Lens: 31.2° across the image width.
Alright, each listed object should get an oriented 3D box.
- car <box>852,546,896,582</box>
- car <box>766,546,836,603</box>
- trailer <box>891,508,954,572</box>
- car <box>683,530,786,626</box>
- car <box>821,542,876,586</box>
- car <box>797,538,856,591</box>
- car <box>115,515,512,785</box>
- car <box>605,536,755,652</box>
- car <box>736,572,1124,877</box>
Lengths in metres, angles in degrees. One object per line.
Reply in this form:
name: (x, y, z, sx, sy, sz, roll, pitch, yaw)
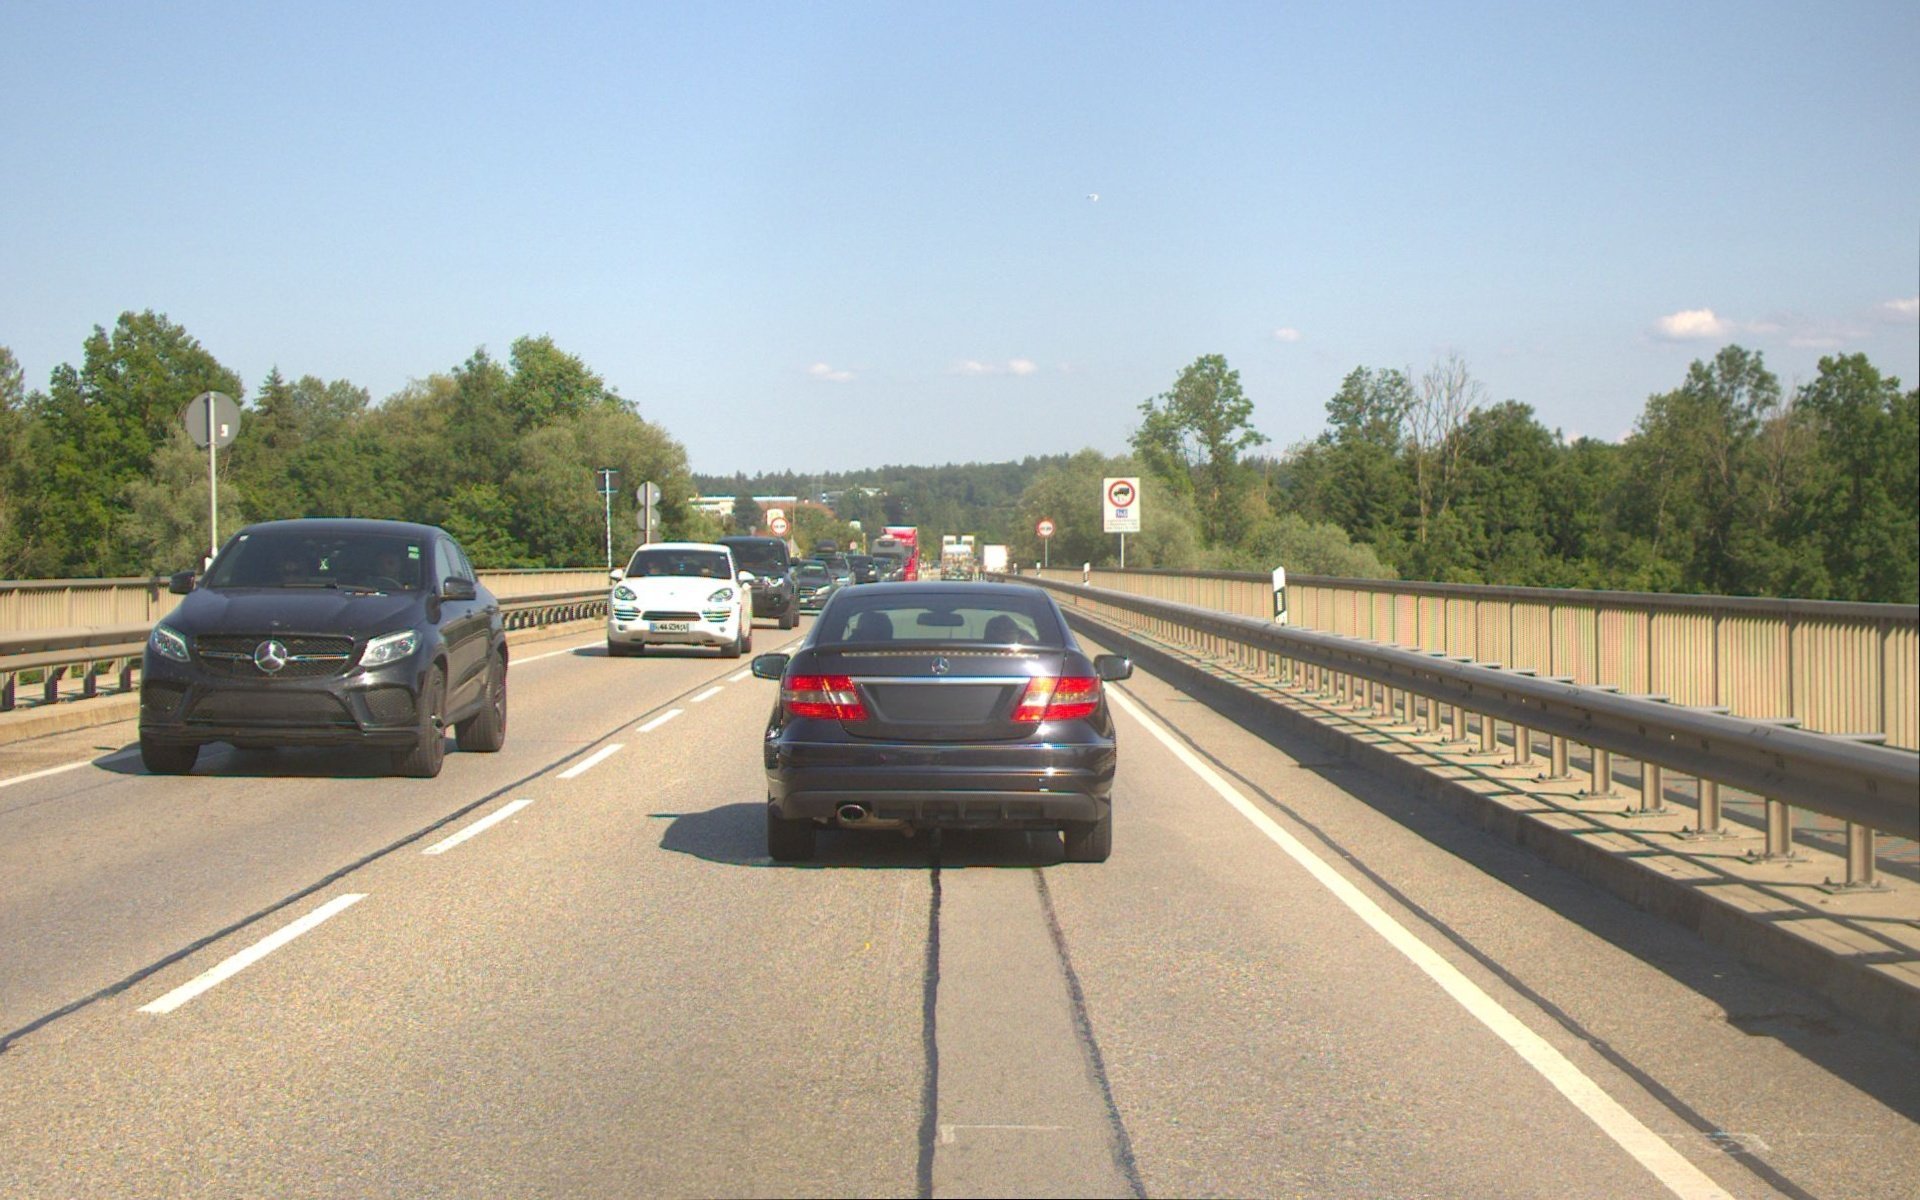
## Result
car: (-3.899, -1.651, 155.453, 1.806, 1.572, 4.202, 0, 1, -3)
car: (-4.172, -0.674, 89.813, 1.765, 1.442, 4.457, 0, 1, -3)
trailer: (-2.686, -4.214, 241.532, 2.907, 4.287, 14.305, 0, 1, -7)
car: (-4.709, -0.503, 72.250, 2.037, 1.867, 5.070, 2, 1, -3)
car: (-4.504, -1.456, 138.399, 2.053, 1.647, 4.722, 2, 1, -3)
car: (-4.396, -1.181, 113.984, 1.854, 1.716, 4.566, 0, 1, -1)
car: (-4.386, 0.283, 24.004, 1.949, 1.688, 4.477, 1, 1, 0)
car: (-4.143, -0.129, 51.417, 1.983, 1.645, 4.598, 0, 1, -2)
car: (-0.134, 0.563, 17.963, 1.793, 1.371, 4.000, 1, 1, 0)
